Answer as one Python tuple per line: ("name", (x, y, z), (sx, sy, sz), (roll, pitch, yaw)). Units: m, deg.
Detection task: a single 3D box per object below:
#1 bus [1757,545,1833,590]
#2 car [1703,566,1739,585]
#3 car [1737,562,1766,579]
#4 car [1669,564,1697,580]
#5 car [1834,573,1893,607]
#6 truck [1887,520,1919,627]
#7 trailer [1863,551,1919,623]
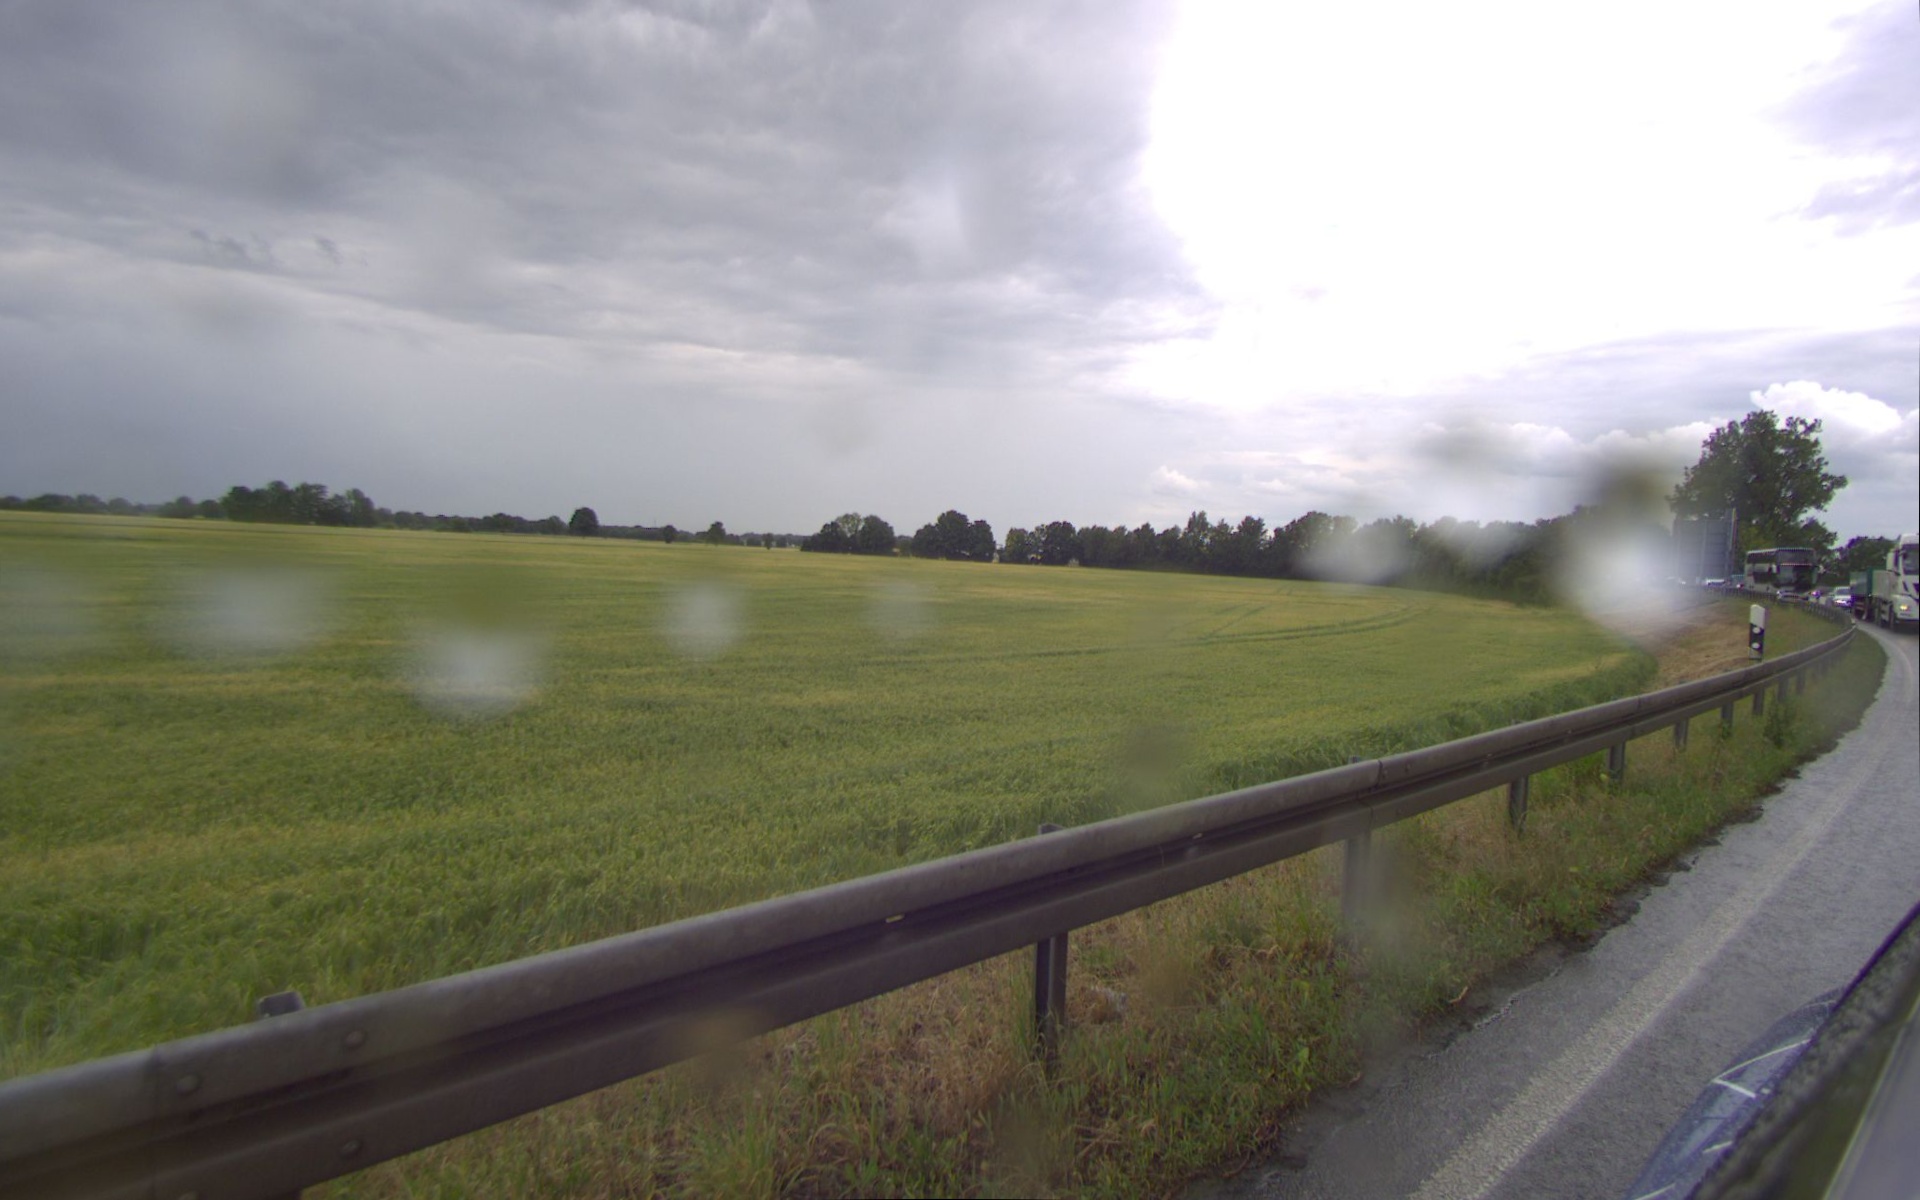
("bus", (66.822, -2.613, 81.302), (2.944, 3.353, 14.667), (0, 2, 33))
("car", (83.017, -2.688, 110.498), (1.978, 2.039, 5.294), (0, 1, 23))
("car", (76.124, -2.848, 97.375), (1.801, 1.597, 3.956), (0, 1, 31))
("car", (92.665, -3.527, 129.677), (1.977, 2.039, 4.201), (0, 1, 22))
("car", (51.922, -0.603, 58.258), (2.031, 1.866, 5.266), (0, 1, 37))
("truck", (35.580, -0.956, 36.350), (2.971, 3.655, 5.996), (0, 1, 39))
("trailer", (40.874, -0.614, 42.953), (2.971, 2.666, 15.463), (0, 1, 39))
